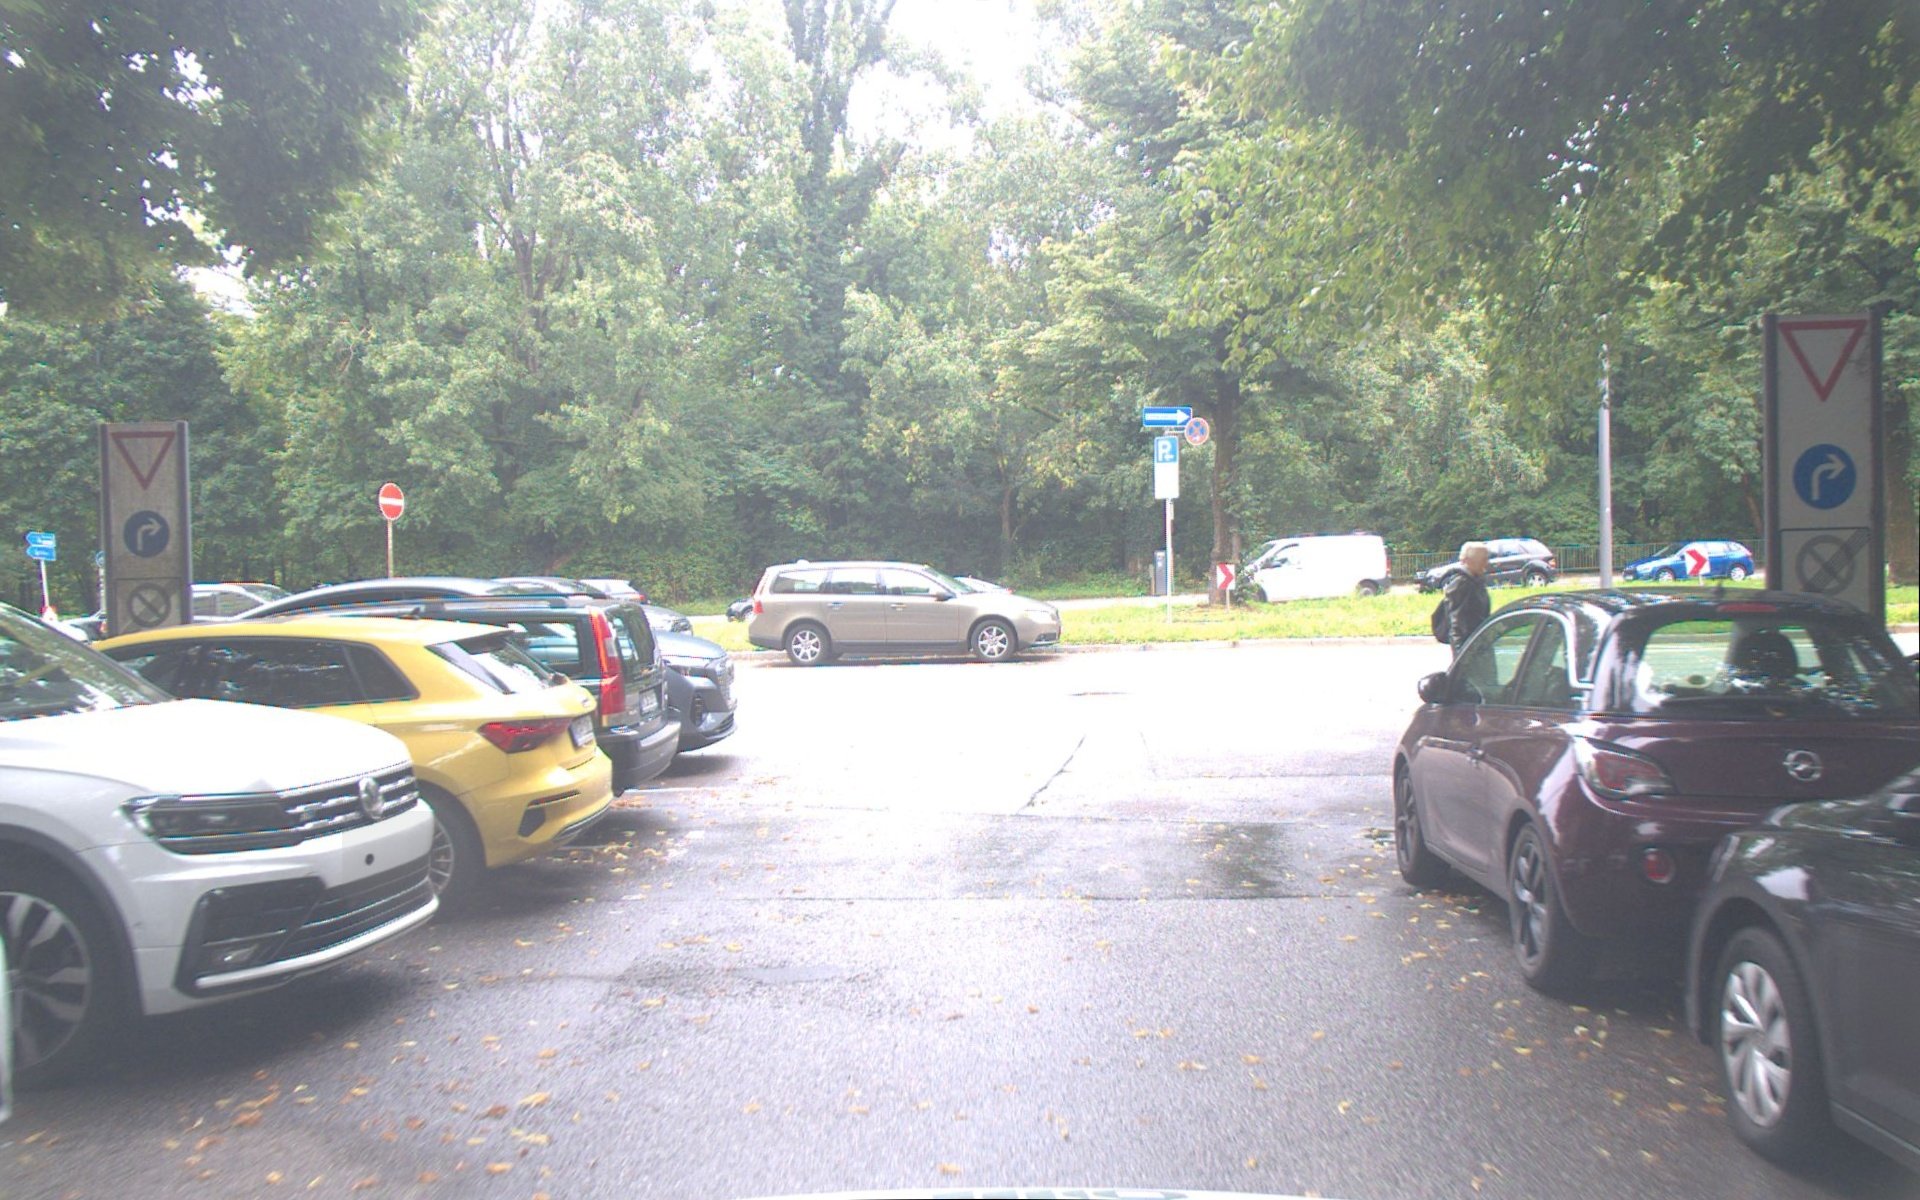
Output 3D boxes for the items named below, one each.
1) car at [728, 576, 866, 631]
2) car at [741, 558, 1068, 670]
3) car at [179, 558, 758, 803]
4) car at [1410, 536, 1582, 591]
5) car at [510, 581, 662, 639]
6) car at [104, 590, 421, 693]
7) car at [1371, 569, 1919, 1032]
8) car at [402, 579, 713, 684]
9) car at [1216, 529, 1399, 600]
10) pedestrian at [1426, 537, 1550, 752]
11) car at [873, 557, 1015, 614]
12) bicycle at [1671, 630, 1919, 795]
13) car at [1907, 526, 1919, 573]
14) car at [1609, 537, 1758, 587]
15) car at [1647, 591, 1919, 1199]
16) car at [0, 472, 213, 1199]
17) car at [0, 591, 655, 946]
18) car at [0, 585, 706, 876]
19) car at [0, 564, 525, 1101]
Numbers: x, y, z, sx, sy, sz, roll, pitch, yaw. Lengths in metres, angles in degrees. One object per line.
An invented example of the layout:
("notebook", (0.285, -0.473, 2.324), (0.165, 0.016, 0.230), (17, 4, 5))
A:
("car", (-5.098, 0.096, 52.281), (4.148, 1.520, 2.000), (-2, 1, -2))
("car", (-0.770, 0.194, 25.017), (4.700, 1.521, 1.844), (-1, 1, 6))
("car", (-3.822, 0.592, 13.393), (4.077, 1.628, 1.736), (-3, 3, 0))
("car", (17.441, -1.186, 53.932), (4.935, 1.592, 1.997), (-2, 1, -8))
("car", (-11.684, 0.292, 51.903), (4.347, 1.606, 1.930), (-2, 1, -4))
("car", (-10.962, 0.643, 26.117), (4.255, 1.404, 1.771), (-2, 1, 9))
("car", (3.003, 0.640, 7.311), (1.613, 1.500, 3.645), (-1, 1, 3))
("car", (-6.156, 0.463, 25.521), (4.255, 1.404, 1.771), (-2, 1, 9))
("car", (9.285, -0.955, 44.415), (4.417, 1.697, 1.930), (-2, 1, -5))
("pedestrian", (4.220, 0.339, 13.260), (0.763, 1.645, 0.761), (-1, 3, 3))
("car", (-0.514, -0.468, 52.300), (4.345, 1.606, 1.931), (-2, 1, -2))
("bicycle", (5.521, 0.720, 10.611), (1.714, 0.999, 0.273), (-2, 1, 10))
("car", (35.351, -1.823, 57.070), (4.421, 1.606, 1.928), (-2, 1, -9))
("car", (24.217, -1.273, 55.450), (4.185, 1.497, 1.929), (-2, 1, -8))
("car", (2.956, 0.706, 3.129), (1.647, 1.381, 4.009), (-1, 1, 0))
("car", (-4.251, 0.690, 3.725), (4.223, 1.761, 1.849), (-3, 1, 4))
("car", (-3.631, 0.785, 8.365), (3.800, 1.466, 1.740), (-3, 1, -1))
("car", (-3.750, 0.762, 10.564), (3.905, 1.489, 1.736), (-3, 2, 0))
("car", (-4.071, 0.737, 6.108), (4.354, 1.624, 1.837), (-1, 1, 5))
